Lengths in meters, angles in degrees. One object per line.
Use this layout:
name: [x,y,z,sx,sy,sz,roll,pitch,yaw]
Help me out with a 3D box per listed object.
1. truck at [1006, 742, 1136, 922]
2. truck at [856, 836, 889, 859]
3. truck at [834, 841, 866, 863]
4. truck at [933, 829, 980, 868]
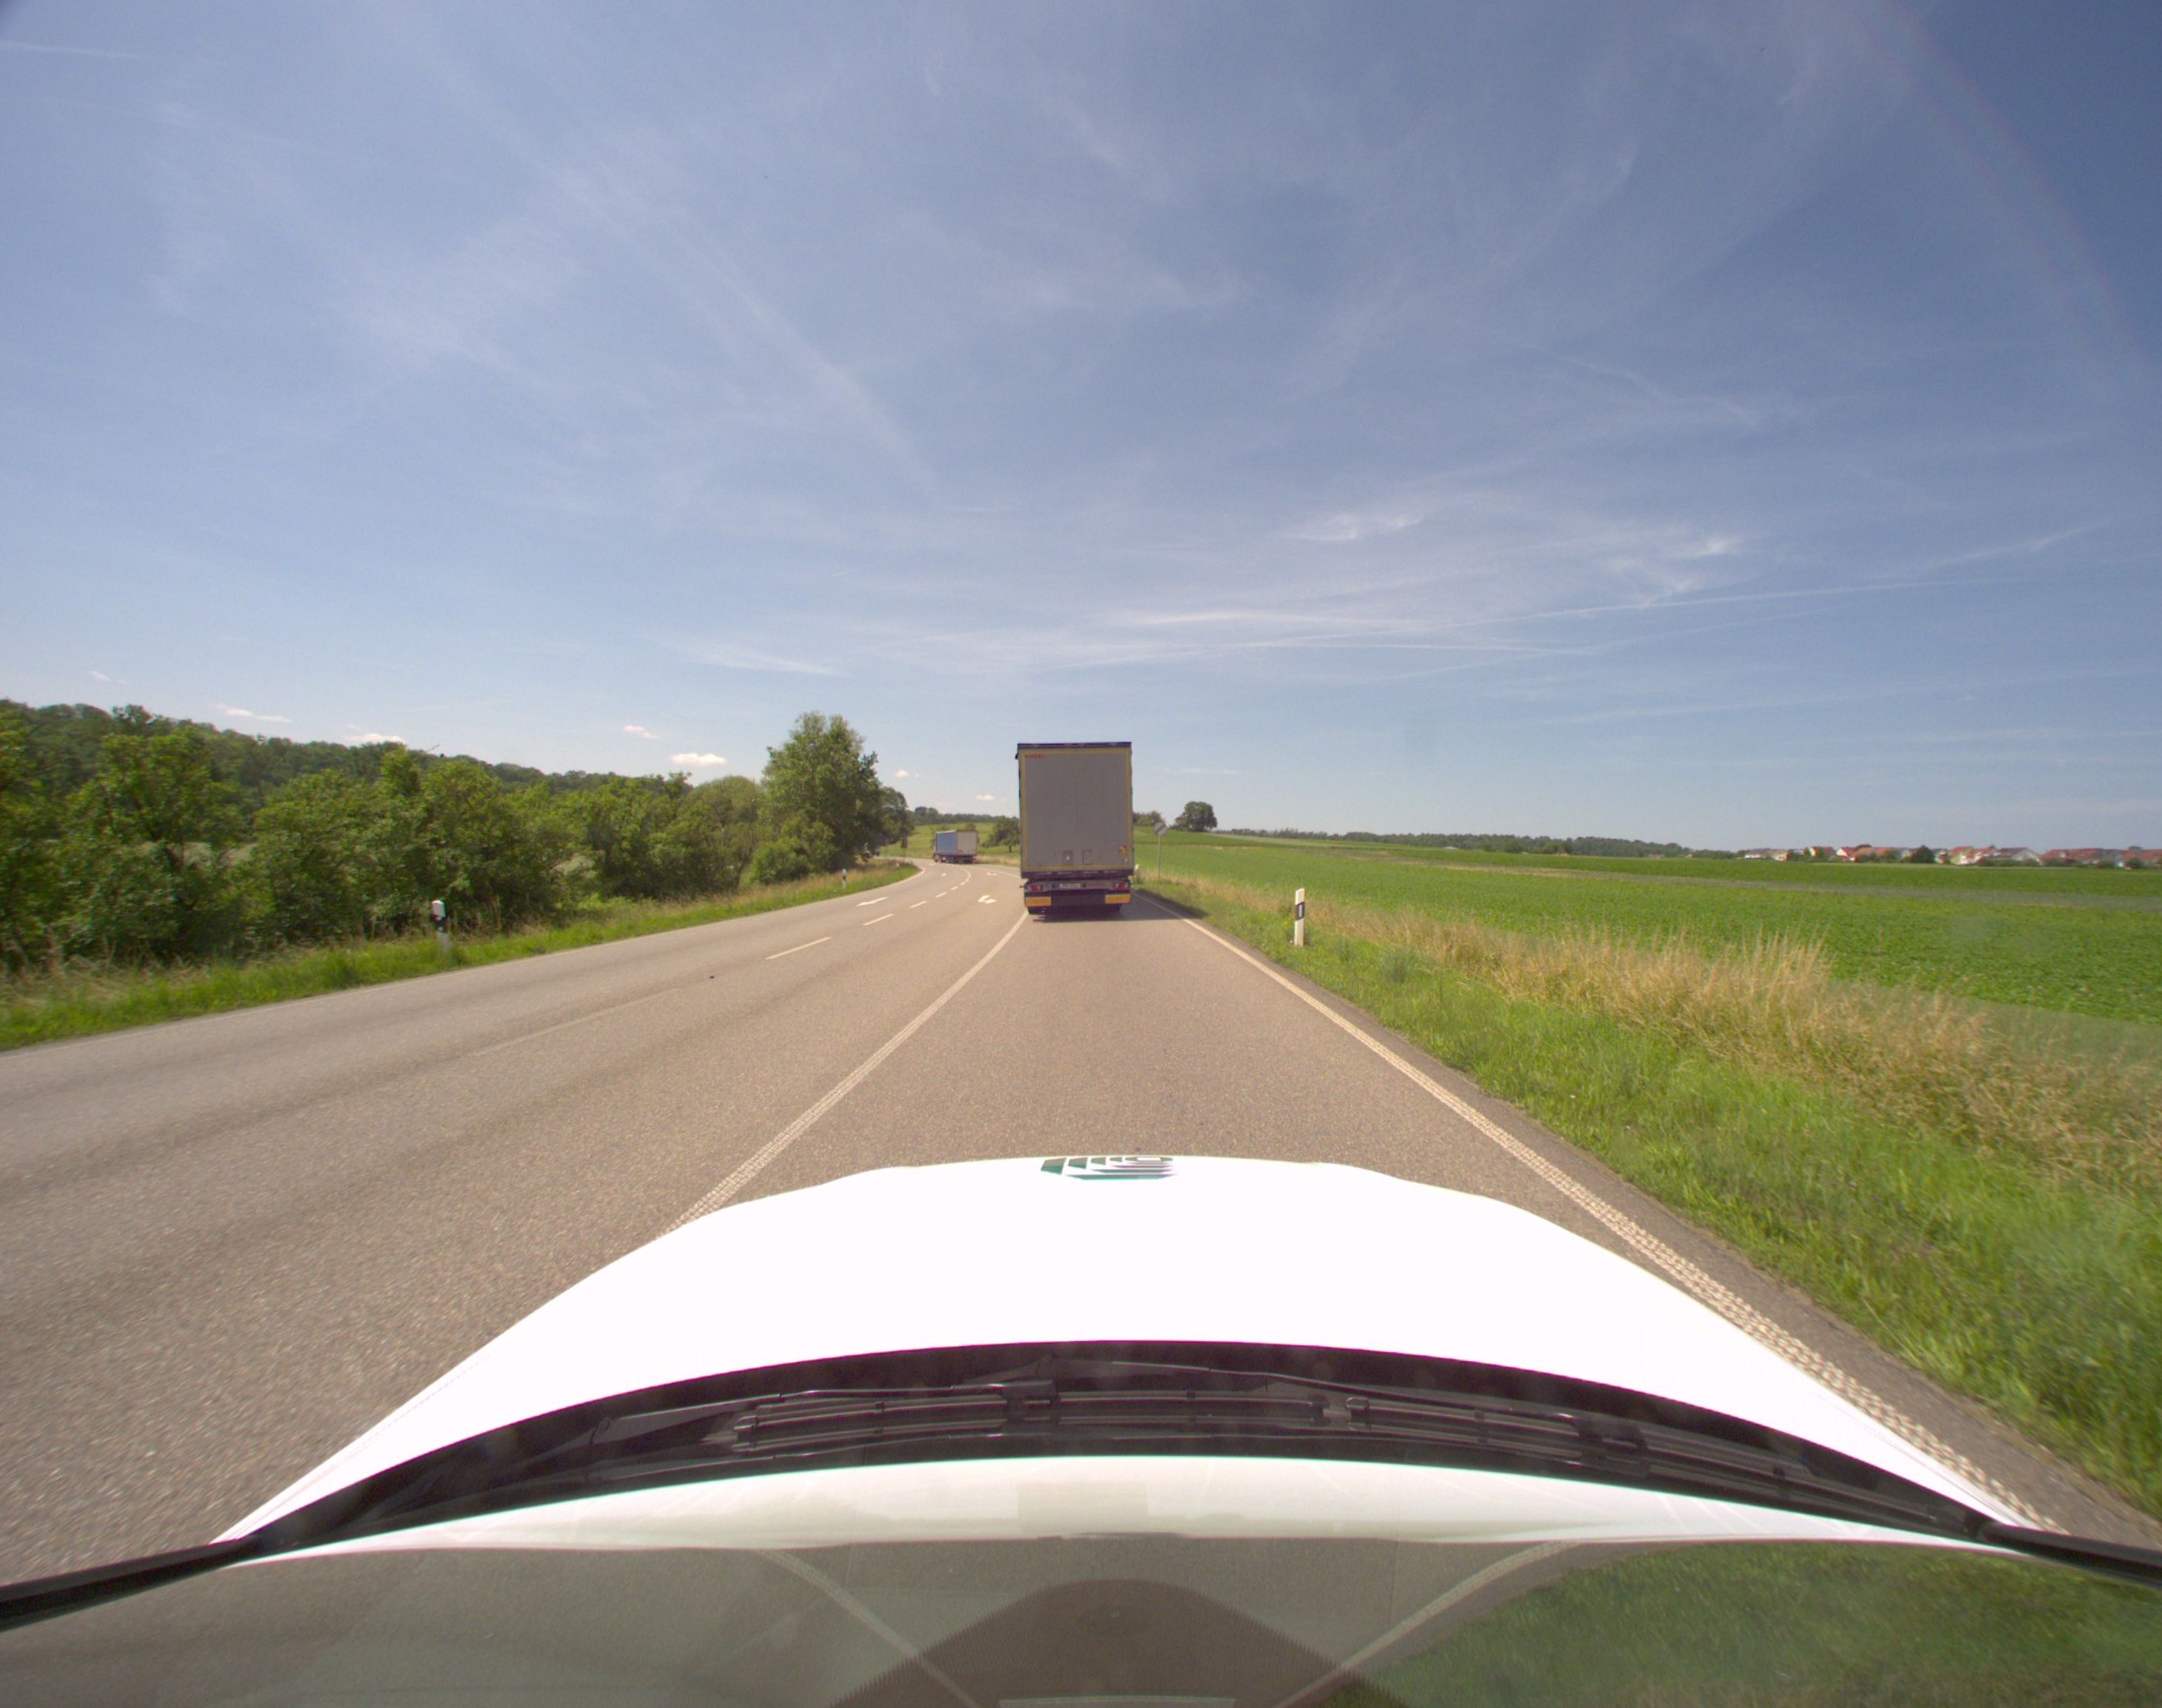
truck: [-0.388,-0.493,22.843,2.801,3.946,9.582,-1,0,-2]
truck: [-41.380,-1.199,161.385,3.656,4.130,12.983,2,-2,-26]
truck: [-49.723,-0.362,175.095,3.550,4.241,13.278,2,-2,-29]
truck: [-16.117,-0.691,103.848,2.970,4.584,16.209,1,0,-19]
